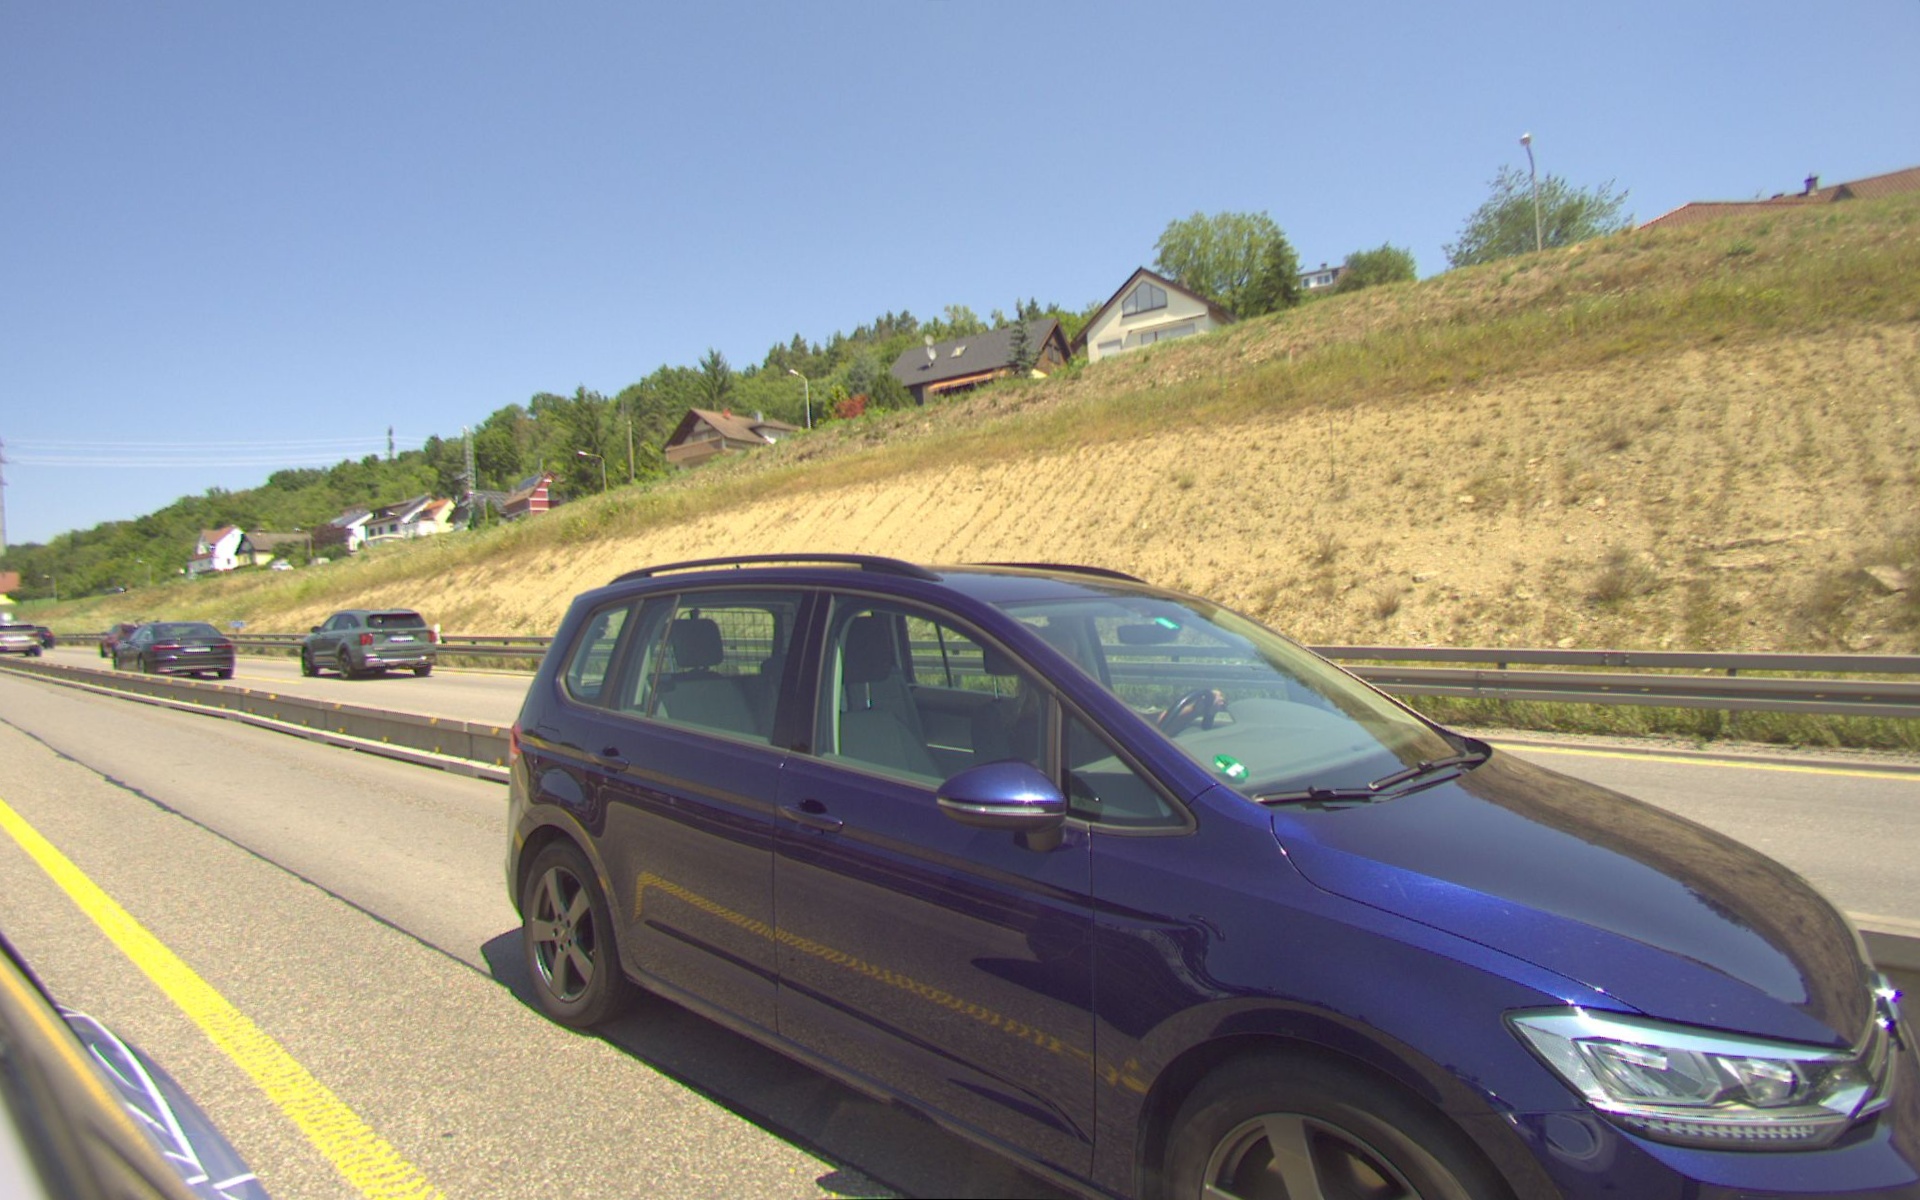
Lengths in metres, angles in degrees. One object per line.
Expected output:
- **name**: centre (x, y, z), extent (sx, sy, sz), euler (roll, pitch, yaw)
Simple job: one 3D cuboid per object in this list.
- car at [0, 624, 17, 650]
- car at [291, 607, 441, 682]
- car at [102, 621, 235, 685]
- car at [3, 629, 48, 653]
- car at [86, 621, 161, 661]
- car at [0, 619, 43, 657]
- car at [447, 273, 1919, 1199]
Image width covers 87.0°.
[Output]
- **car**: centre (-72.914, 2.806, 76.324), extent (5.118, 1.941, 2.017), euler (-2, -2, 40)
- **car**: centre (-14.935, 1.082, 25.343), extent (4.665, 1.684, 1.835), euler (-2, -1, 41)
- **car**: centre (-20.357, 1.306, 25.955), extent (4.947, 1.438, 1.778), euler (-2, -1, 41)
- **car**: centre (-59.974, 2.598, 64.905), extent (4.240, 1.429, 1.692), euler (-2, -1, 41)
- **car**: centre (-36.002, 1.738, 43.523), extent (5.123, 1.597, 1.667), euler (-2, 0, 41)
- **car**: centre (-44.694, 1.786, 47.558), extent (4.686, 1.678, 1.826), euler (-2, 0, 41)
- **car**: centre (0.281, 0.535, 3.177), extent (4.650, 1.731, 1.757), euler (-3, -1, 41)
